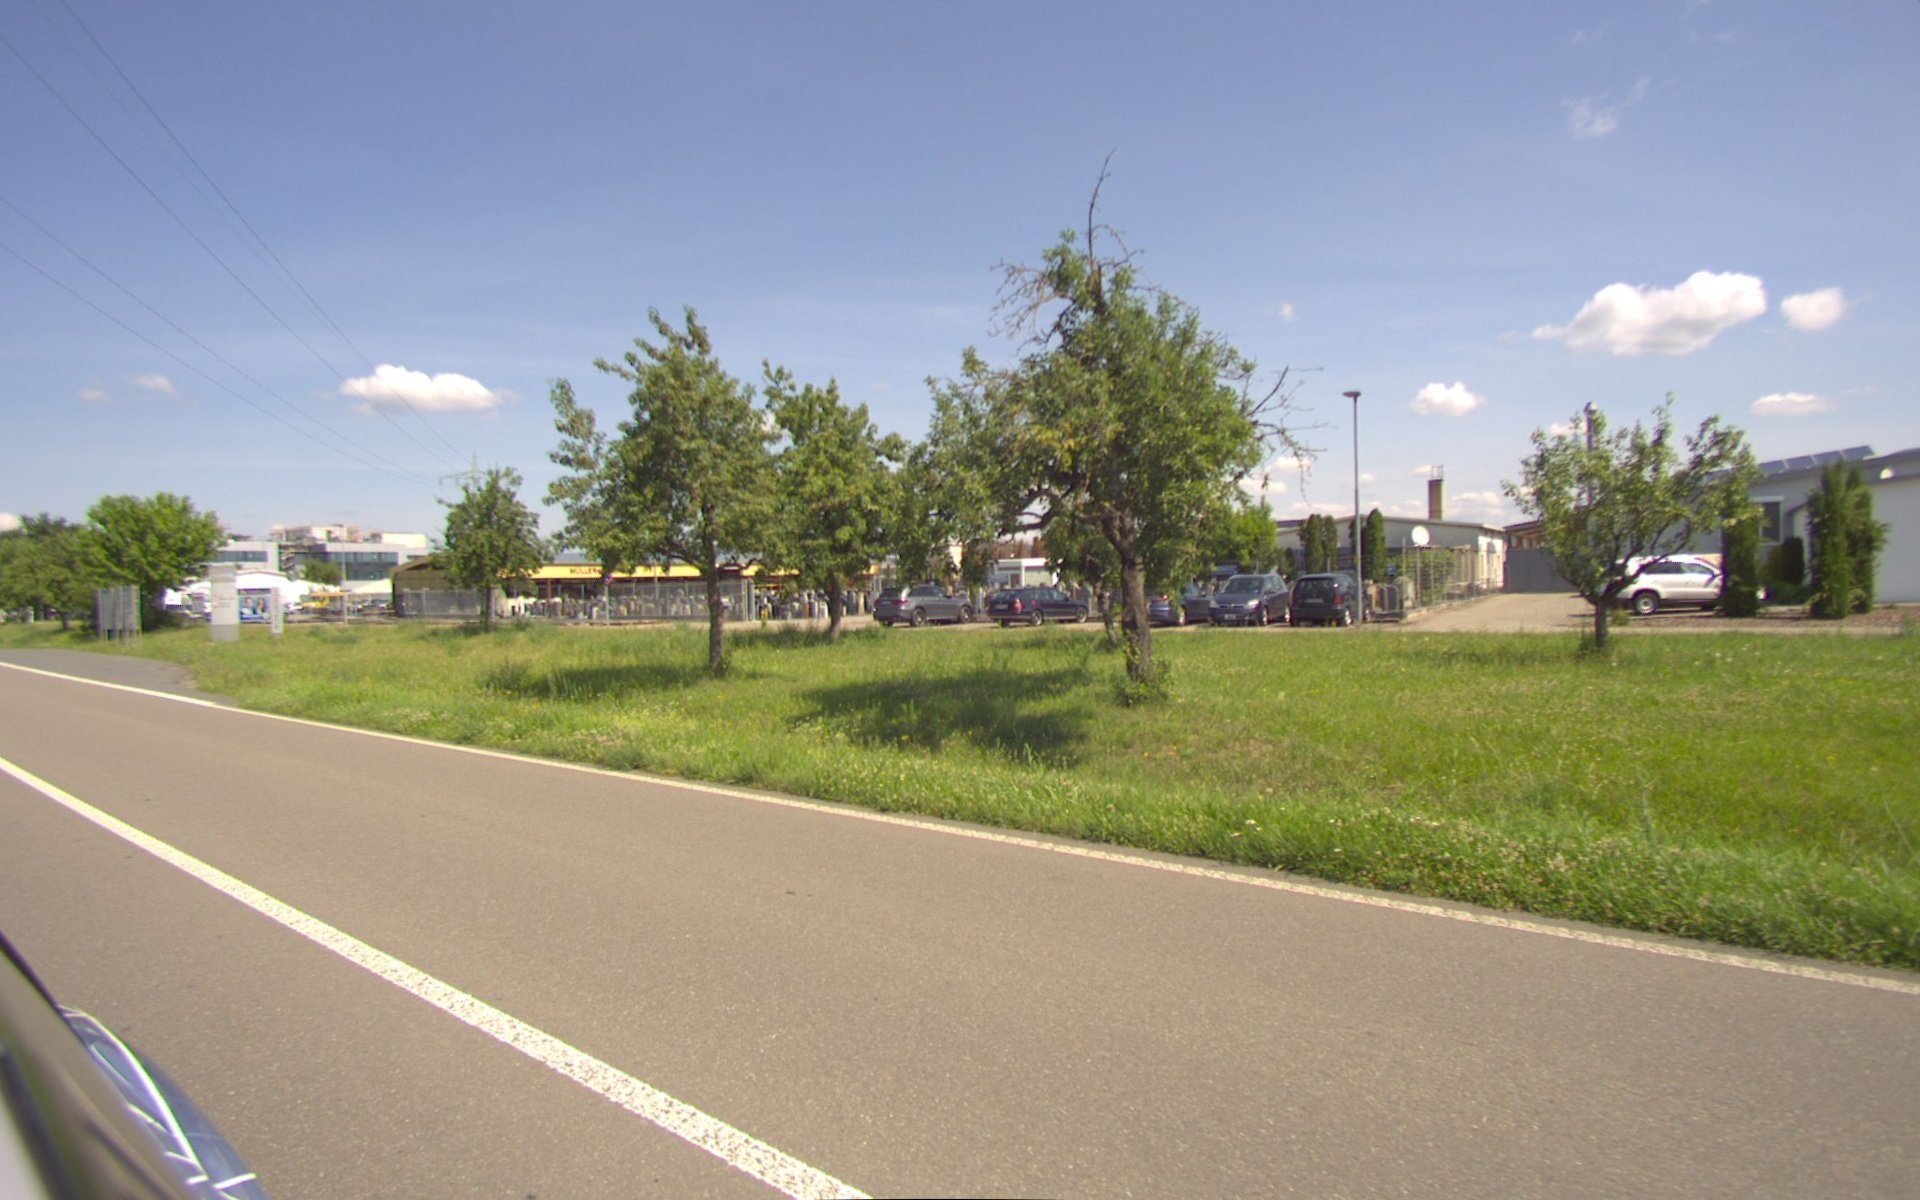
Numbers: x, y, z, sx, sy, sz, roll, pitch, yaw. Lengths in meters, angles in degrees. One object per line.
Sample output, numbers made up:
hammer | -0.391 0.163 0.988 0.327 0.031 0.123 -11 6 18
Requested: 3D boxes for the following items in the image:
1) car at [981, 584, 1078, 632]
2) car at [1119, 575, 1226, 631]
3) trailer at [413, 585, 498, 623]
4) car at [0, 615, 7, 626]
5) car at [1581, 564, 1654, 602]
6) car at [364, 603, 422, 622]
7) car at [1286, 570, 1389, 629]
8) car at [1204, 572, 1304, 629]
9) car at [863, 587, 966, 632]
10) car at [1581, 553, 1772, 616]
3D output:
car | 2.557 0.261 36.600 1.662 1.566 3.953 -2 1 35
car | 7.040 0.060 33.258 1.996 1.652 3.953 -2 1 35
trailer | -41.292 0.280 82.920 2.734 2.846 5.517 -2 1 34
car | -139.061 3.053 144.697 2.000 1.530 3.943 -1 1 43
car | 28.898 -0.763 44.459 2.000 1.495 4.111 -1 1 43
car | -50.770 1.123 90.626 4.201 1.497 1.994 -2 1 10
car | 11.672 -0.034 31.161 1.996 1.652 3.953 -2 1 35
car | 9.415 -0.013 32.260 1.854 1.652 3.953 -2 1 35
car | -1.738 0.356 39.854 1.996 1.539 3.953 -2 1 35
car | 21.166 -0.455 30.073 4.119 1.652 1.997 -2 1 6
